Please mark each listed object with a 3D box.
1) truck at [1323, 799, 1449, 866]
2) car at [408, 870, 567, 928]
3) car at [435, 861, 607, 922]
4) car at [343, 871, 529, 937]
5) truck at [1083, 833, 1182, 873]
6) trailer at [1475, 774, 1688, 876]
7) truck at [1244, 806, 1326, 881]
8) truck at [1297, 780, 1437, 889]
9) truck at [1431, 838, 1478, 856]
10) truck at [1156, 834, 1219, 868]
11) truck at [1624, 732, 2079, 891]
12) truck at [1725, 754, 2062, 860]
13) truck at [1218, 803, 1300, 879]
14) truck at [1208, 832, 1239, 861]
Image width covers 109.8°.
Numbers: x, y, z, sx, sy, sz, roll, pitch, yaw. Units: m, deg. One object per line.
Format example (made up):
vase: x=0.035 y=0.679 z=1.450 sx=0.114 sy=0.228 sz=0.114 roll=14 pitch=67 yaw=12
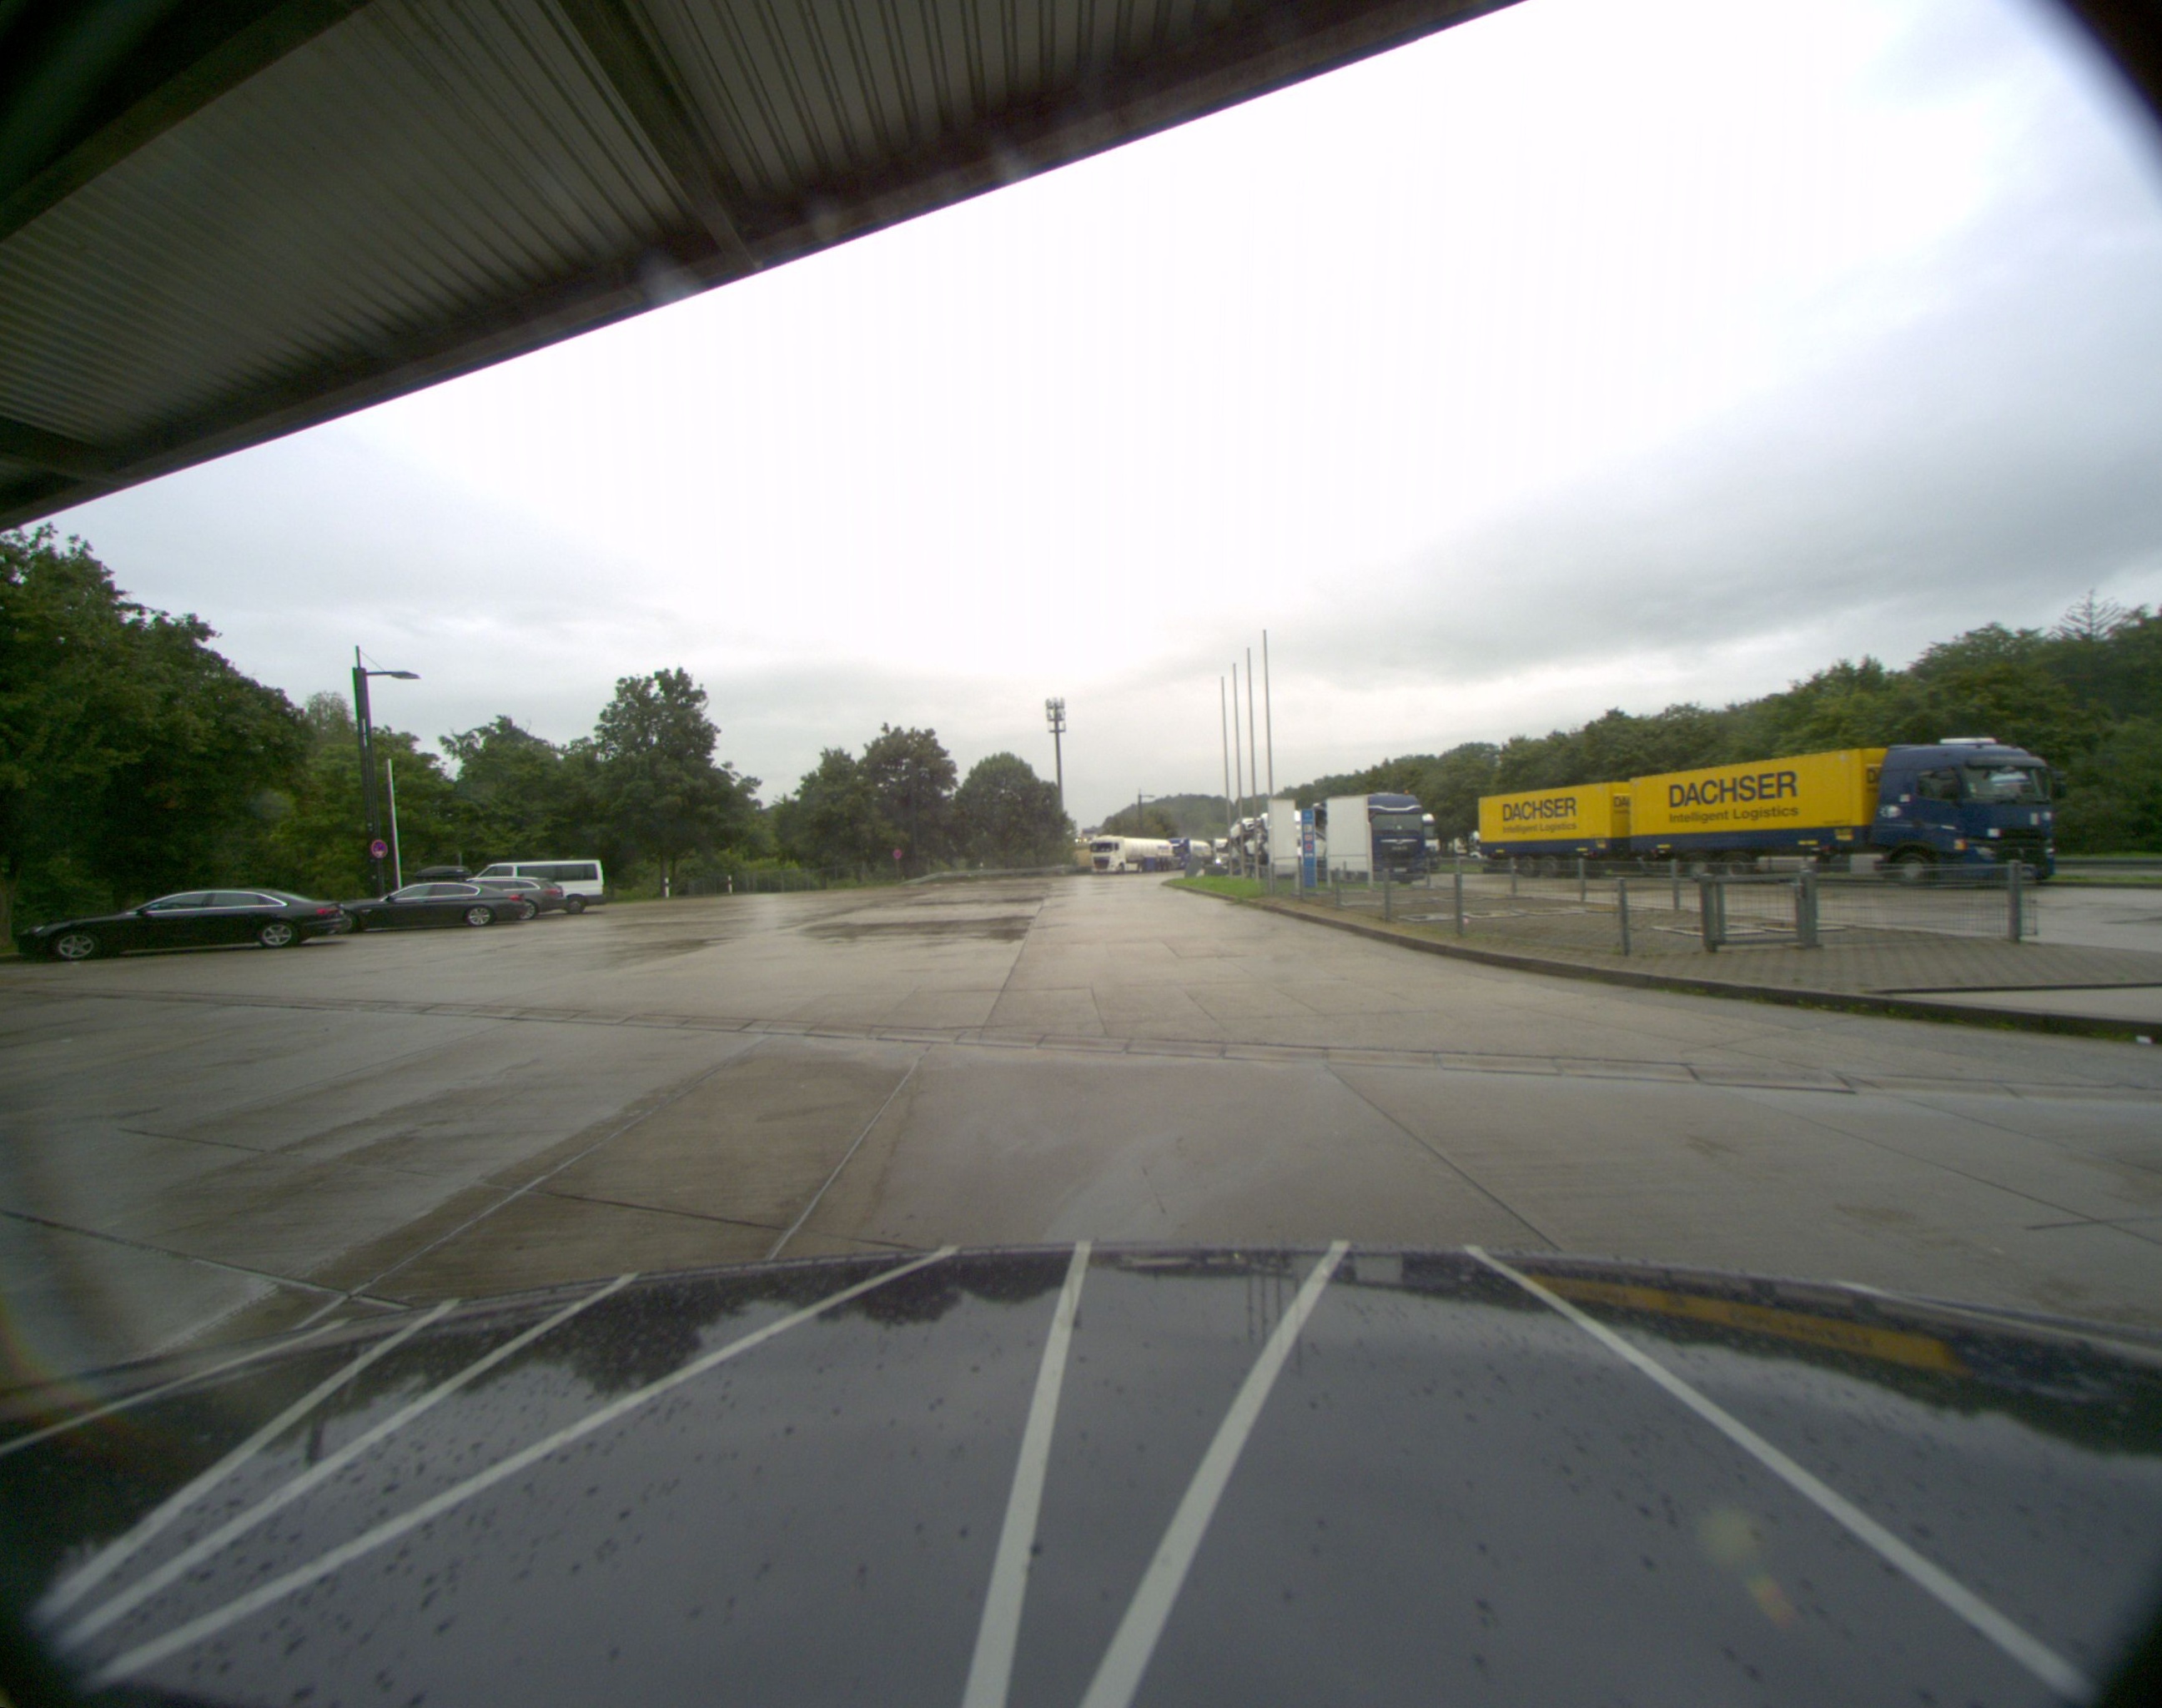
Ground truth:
truck: x=19.880 y=-1.294 z=50.567 sx=2.757 sy=3.894 sz=10.678 roll=-2 pitch=1 yaw=-8
car: x=-19.473 y=1.427 z=25.154 sx=4.007 sy=1.650 sz=1.596 roll=-2 pitch=0 yaw=-35
car: x=-20.429 y=1.288 z=27.991 sx=4.898 sy=1.938 sz=2.310 roll=-2 pitch=0 yaw=-35
car: x=-18.877 y=1.394 z=22.502 sx=4.007 sy=1.650 sz=1.596 roll=-2 pitch=0 yaw=-35
truck: x=5.449 y=-0.158 z=75.205 sx=3.505 sy=3.584 sz=14.426 roll=-2 pitch=0 yaw=31
trailer: x=21.790 y=-1.179 z=33.946 sx=2.757 sy=3.894 sz=8.700 roll=-2 pitch=1 yaw=-9
truck: x=11.044 y=-0.554 z=41.585 sx=2.665 sy=3.750 sz=4.747 roll=-2 pitch=1 yaw=-6
truck: x=12.182 y=-0.792 z=33.178 sx=2.665 sy=4.157 sz=7.103 roll=-2 pitch=0 yaw=-6
truck: x=45.306 y=-0.825 z=92.344 sx=2.082 sy=2.112 sz=5.827 roll=-2 pitch=1 yaw=-10
truck: x=12.775 y=-0.400 z=89.687 sx=3.506 sy=3.584 sz=14.686 roll=-2 pitch=0 yaw=23
truck: x=23.152 y=-1.122 z=24.325 sx=2.757 sy=3.894 sz=10.678 roll=-2 pitch=1 yaw=-8
truck: x=33.909 y=-1.753 z=32.712 sx=2.421 sy=3.785 sz=10.223 roll=-2 pitch=1 yaw=-10
truck: x=10.568 y=-0.723 z=45.776 sx=2.665 sy=4.157 sz=6.618 roll=-2 pitch=1 yaw=-6
truck: x=21.965 y=-1.153 z=118.017 sx=3.143 sy=4.105 sz=11.523 roll=-2 pitch=1 yaw=3
